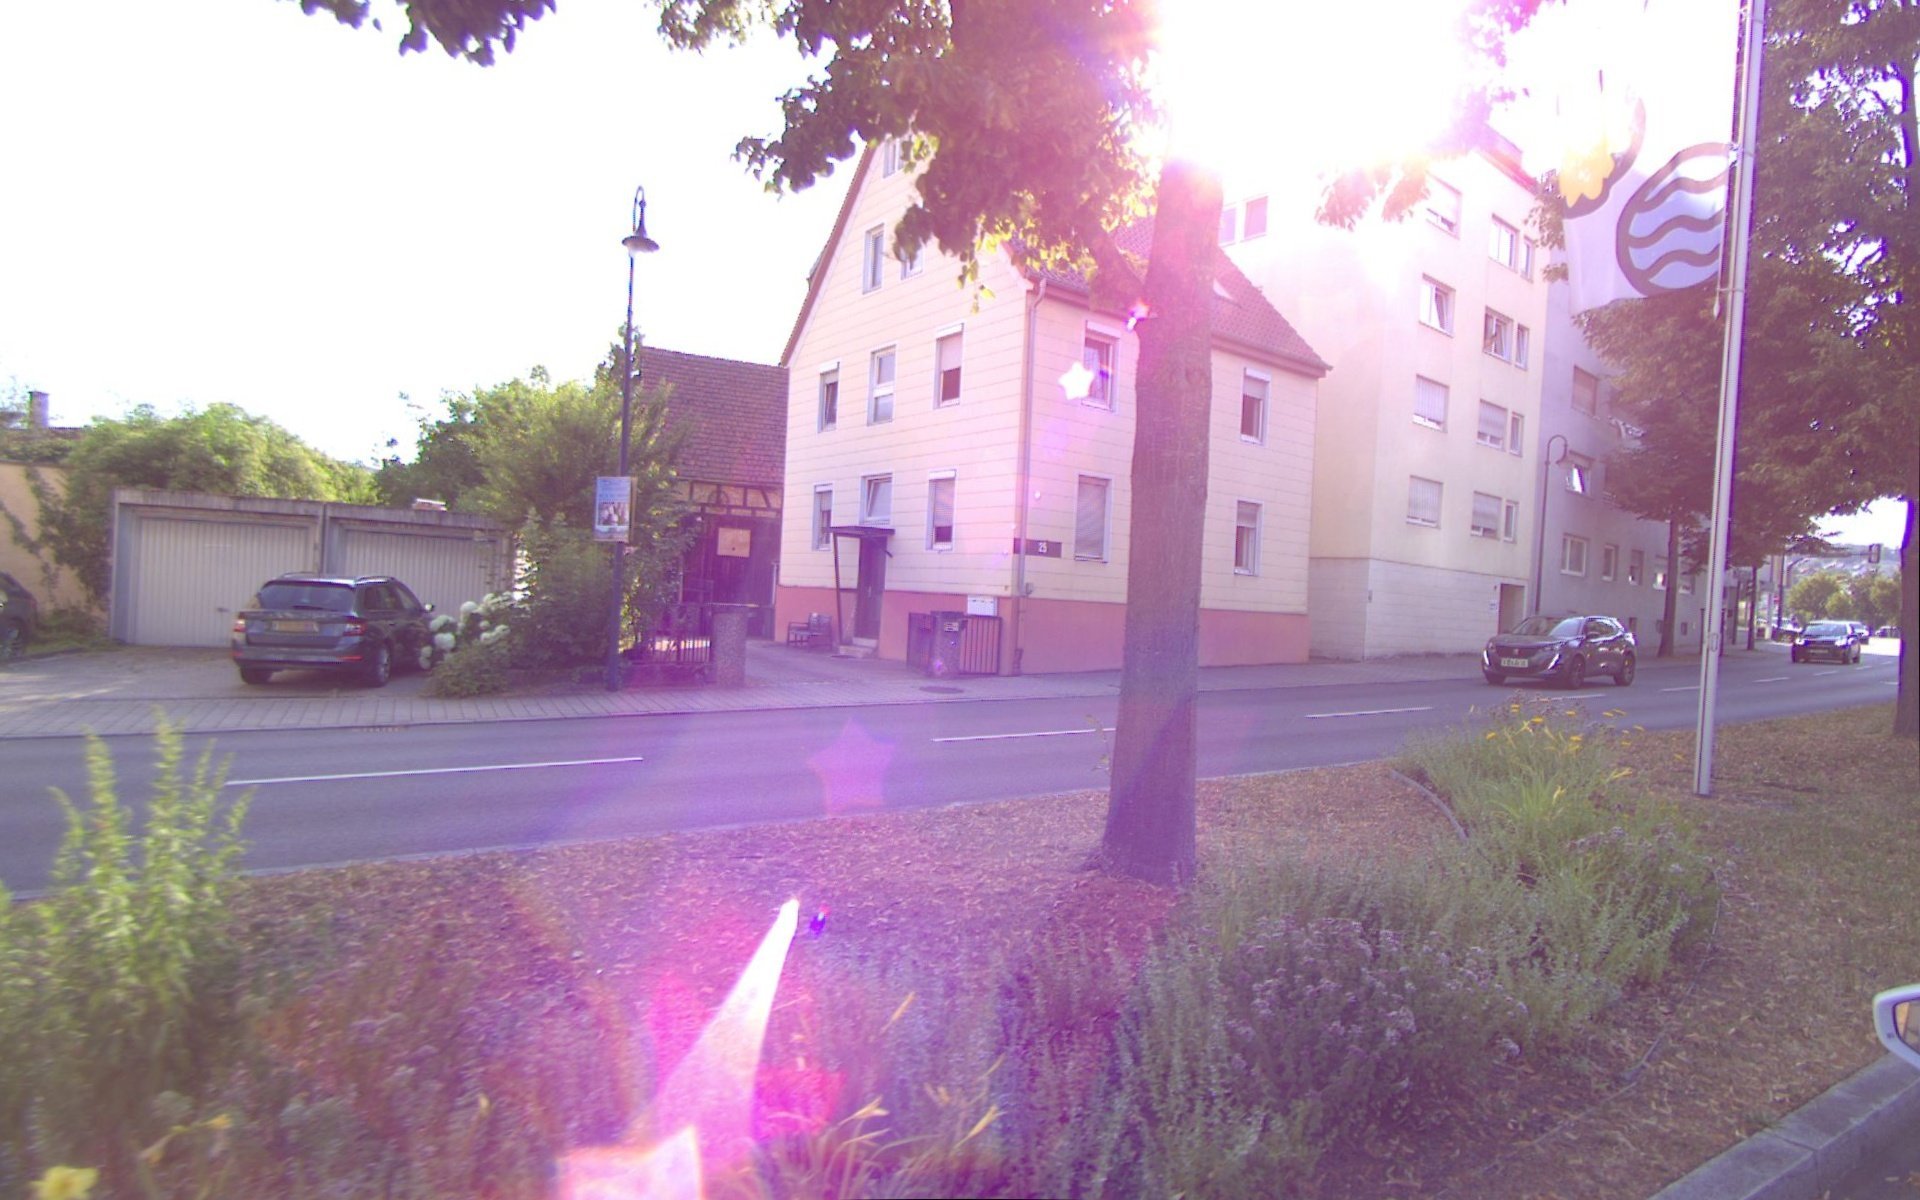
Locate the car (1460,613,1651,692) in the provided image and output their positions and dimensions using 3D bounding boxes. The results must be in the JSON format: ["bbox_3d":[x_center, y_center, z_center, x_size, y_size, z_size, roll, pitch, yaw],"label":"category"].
[{"bbox_3d":[12.960,1.098,21.792,4.280,1.506,1.927,2,0,-34],"label":"car"}]

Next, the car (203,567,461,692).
[{"bbox_3d":[-8.780,0.324,14.530,1.914,1.506,4.347,2,1,-15],"label":"car"}]

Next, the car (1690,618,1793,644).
[{"bbox_3d":[48.208,1.900,62.029,1.905,1.456,4.809,2,0,-45],"label":"car"}]

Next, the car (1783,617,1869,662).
[{"bbox_3d":[31.672,1.425,36.712,3.749,1.506,1.594,2,0,-37],"label":"car"}]

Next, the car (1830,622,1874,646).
[{"bbox_3d":[60.127,2.277,67.759,1.829,1.506,4.977,1,0,37],"label":"car"}]

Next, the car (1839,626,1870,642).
[{"bbox_3d":[113.052,4.299,126.941,2.186,1.792,4.442,2,0,33],"label":"car"}]

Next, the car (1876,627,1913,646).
[{"bbox_3d":[102.665,4.006,110.424,2.186,1.883,4.442,2,0,33],"label":"car"}]

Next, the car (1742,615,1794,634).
[{"bbox_3d":[83.537,2.519,103.955,1.821,1.759,4.925,2,0,7],"label":"car"}]

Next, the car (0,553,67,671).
[{"bbox_3d":[-13.185,0.149,12.043,1.979,1.506,4.345,2,1,-16],"label":"car"}]
